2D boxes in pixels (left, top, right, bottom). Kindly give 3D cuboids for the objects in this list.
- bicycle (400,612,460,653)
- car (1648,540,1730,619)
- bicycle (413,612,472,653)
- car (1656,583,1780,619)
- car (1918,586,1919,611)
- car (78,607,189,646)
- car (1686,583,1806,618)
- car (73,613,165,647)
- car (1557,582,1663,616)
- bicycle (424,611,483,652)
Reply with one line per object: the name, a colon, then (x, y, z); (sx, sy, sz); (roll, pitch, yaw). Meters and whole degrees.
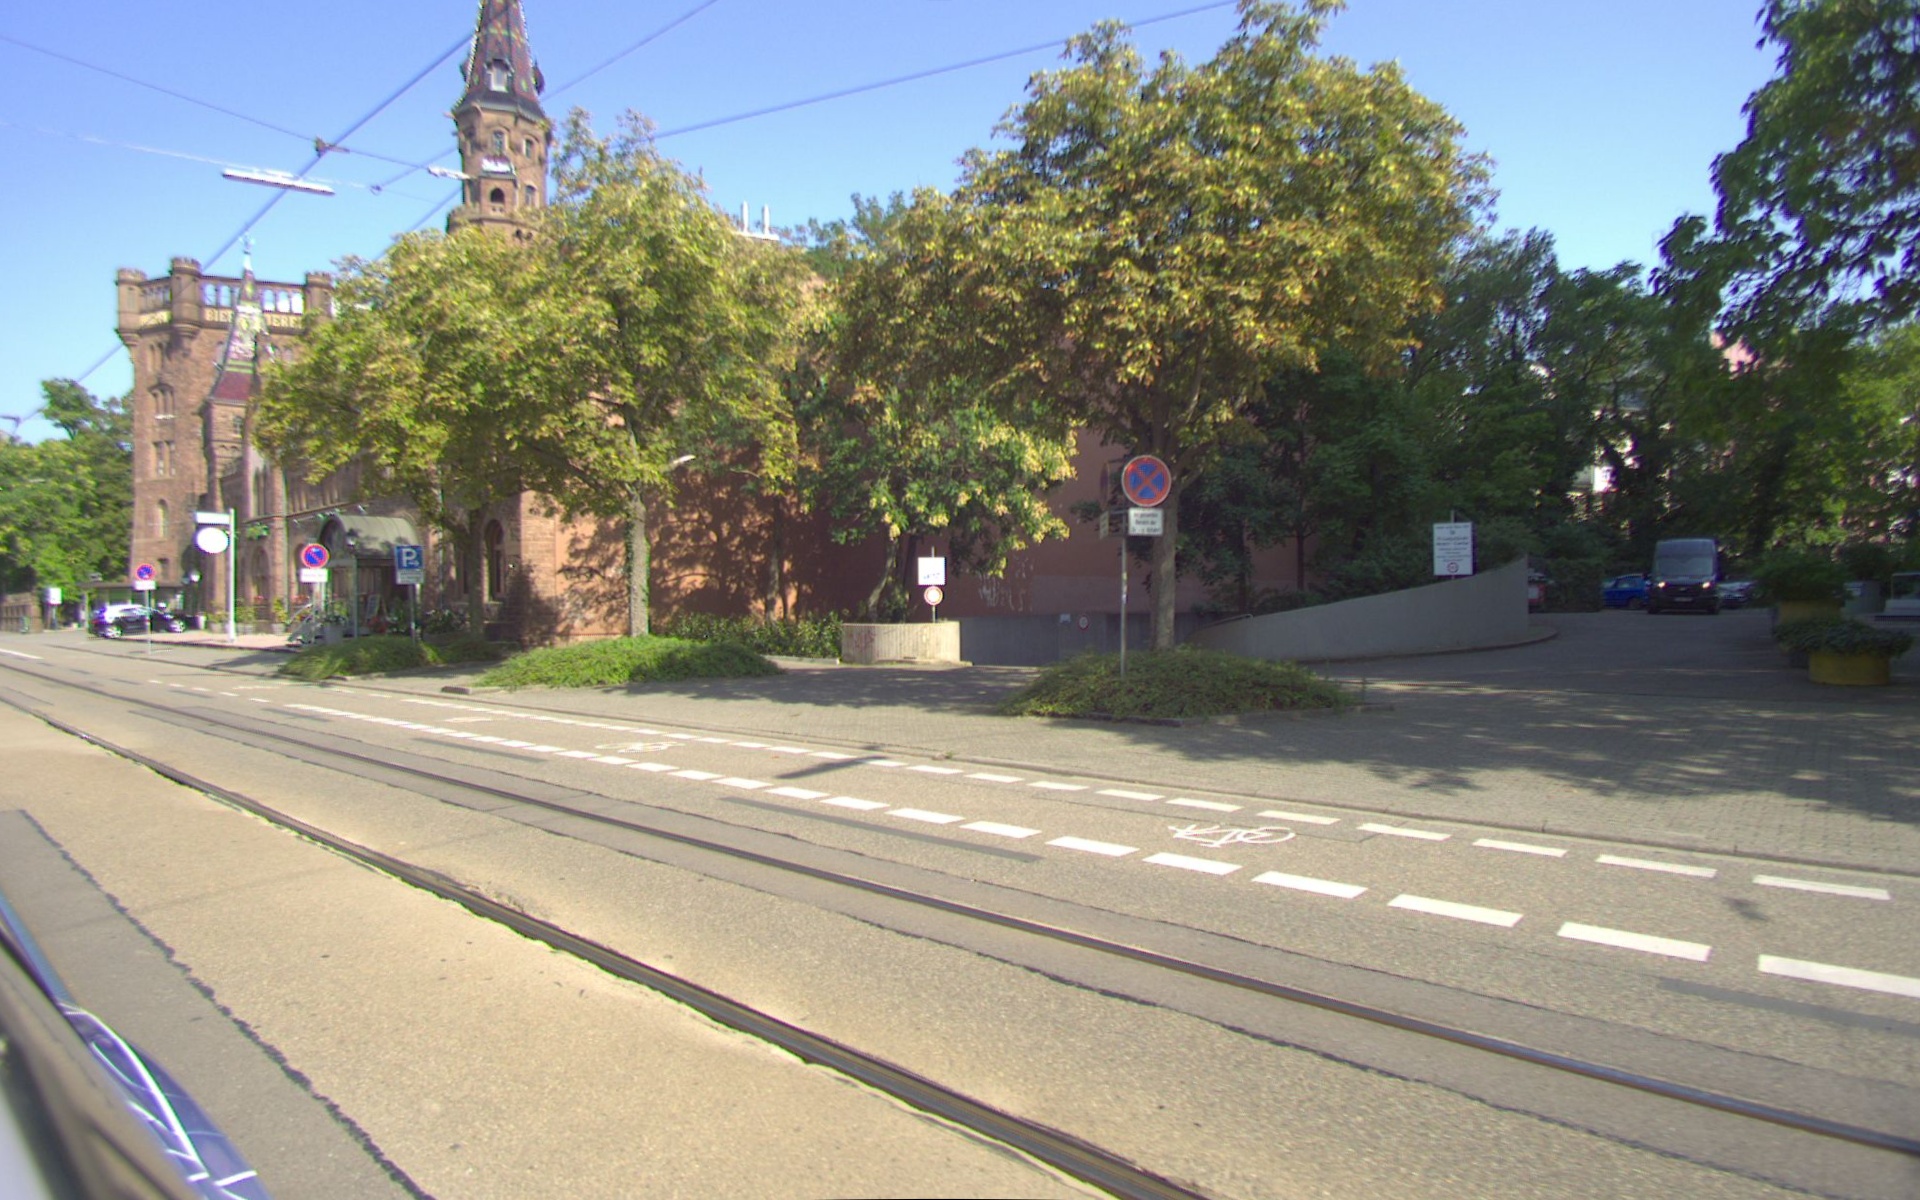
bicycle: (-16.455, 1.009, 31.474); (0.418, 1.082, 1.798); (-1, 4, 19)
car: (26.251, -0.673, 36.358); (2.019, 2.616, 5.141); (-1, -1, 40)
bicycle: (-16.009, 1.001, 31.336); (0.418, 1.082, 1.798); (-1, 4, 19)
car: (34.251, 0.072, 45.861); (1.703, 1.539, 4.145); (1, -1, -31)
car: (55.528, -0.122, 55.483); (1.416, 1.397, 4.146); (0, -1, -24)
car: (-44.964, 1.429, 55.122); (1.956, 1.657, 4.351); (-2, 3, 42)
car: (36.385, 0.044, 46.978); (1.416, 1.539, 4.145); (1, -1, -31)
car: (-49.066, 1.704, 59.084); (1.823, 1.607, 3.857); (-2, 3, 43)
car: (27.983, -0.037, 43.611); (3.619, 1.388, 1.479); (-1, 0, 42)
bicycle: (-15.576, 0.951, 31.177); (0.418, 1.082, 1.798); (-1, 4, 19)
